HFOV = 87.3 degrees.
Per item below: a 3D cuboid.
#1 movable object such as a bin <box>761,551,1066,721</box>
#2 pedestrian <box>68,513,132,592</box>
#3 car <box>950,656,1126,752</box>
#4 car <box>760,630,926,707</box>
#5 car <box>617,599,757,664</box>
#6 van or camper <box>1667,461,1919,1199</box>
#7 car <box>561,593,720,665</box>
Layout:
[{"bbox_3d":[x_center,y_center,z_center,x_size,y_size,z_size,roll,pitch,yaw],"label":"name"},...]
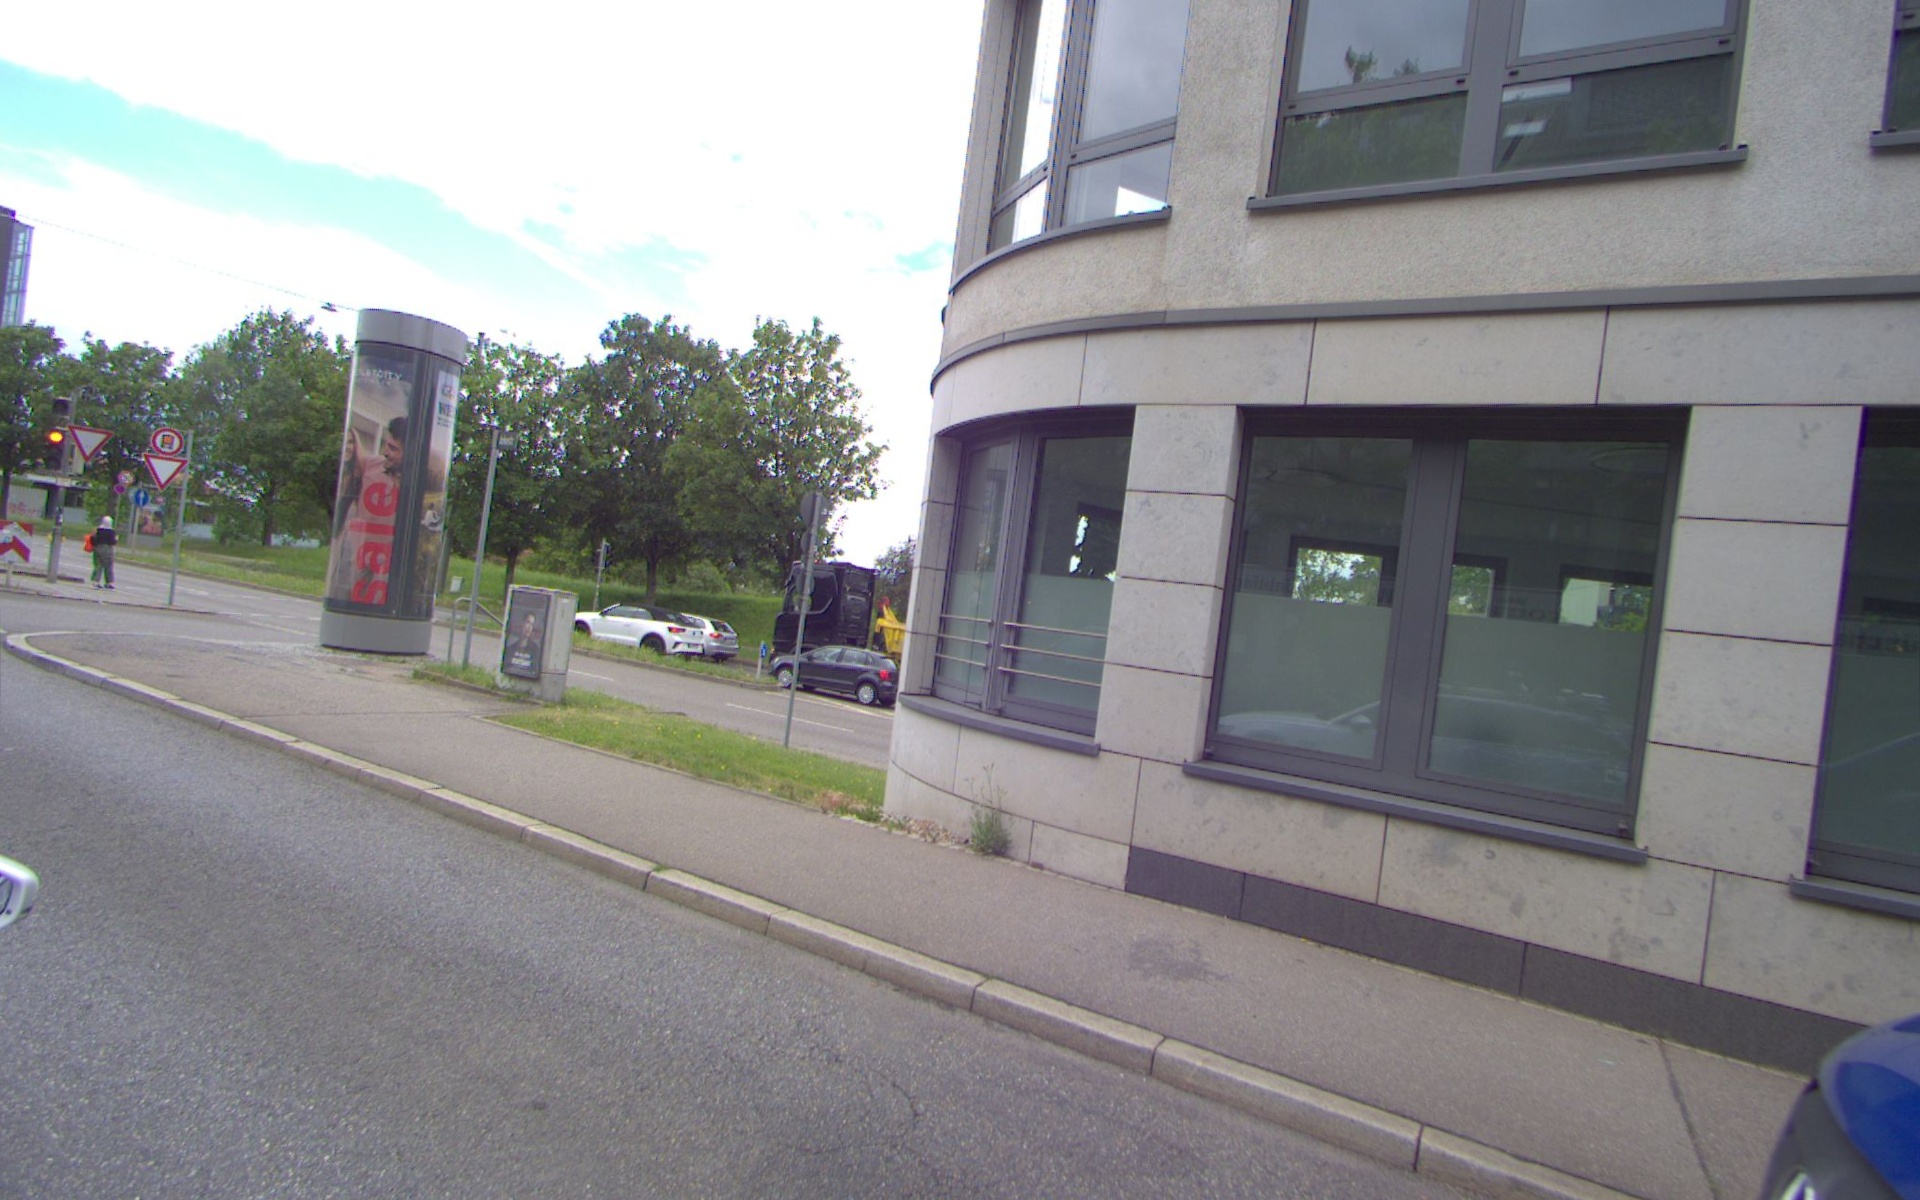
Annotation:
[{"bbox_3d":[-1.391,1.045,30.556,8.410,3.949,2.870,7,-1,18],"label":"movable object such as a bin"},{"bbox_3d":[-18.939,-1.037,22.162,0.564,1.602,0.739,9,-2,-8],"label":"pedestrian"},{"bbox_3d":[2.022,2.627,25.705,3.925,1.723,2.003,8,-3,19],"label":"car"},{"bbox_3d":[-3.193,1.904,27.726,3.925,1.469,2.003,8,-3,19],"label":"car"},{"bbox_3d":[-9.098,1.069,33.596,3.925,1.469,2.003,8,-3,19],"label":"car"},{"bbox_3d":[3.395,1.072,0.336,4.948,1.934,1.862,7,-1,32],"label":"van or camper"},{"bbox_3d":[-9.491,0.881,29.968,3.925,1.469,2.003,8,-3,19],"label":"car"}]
